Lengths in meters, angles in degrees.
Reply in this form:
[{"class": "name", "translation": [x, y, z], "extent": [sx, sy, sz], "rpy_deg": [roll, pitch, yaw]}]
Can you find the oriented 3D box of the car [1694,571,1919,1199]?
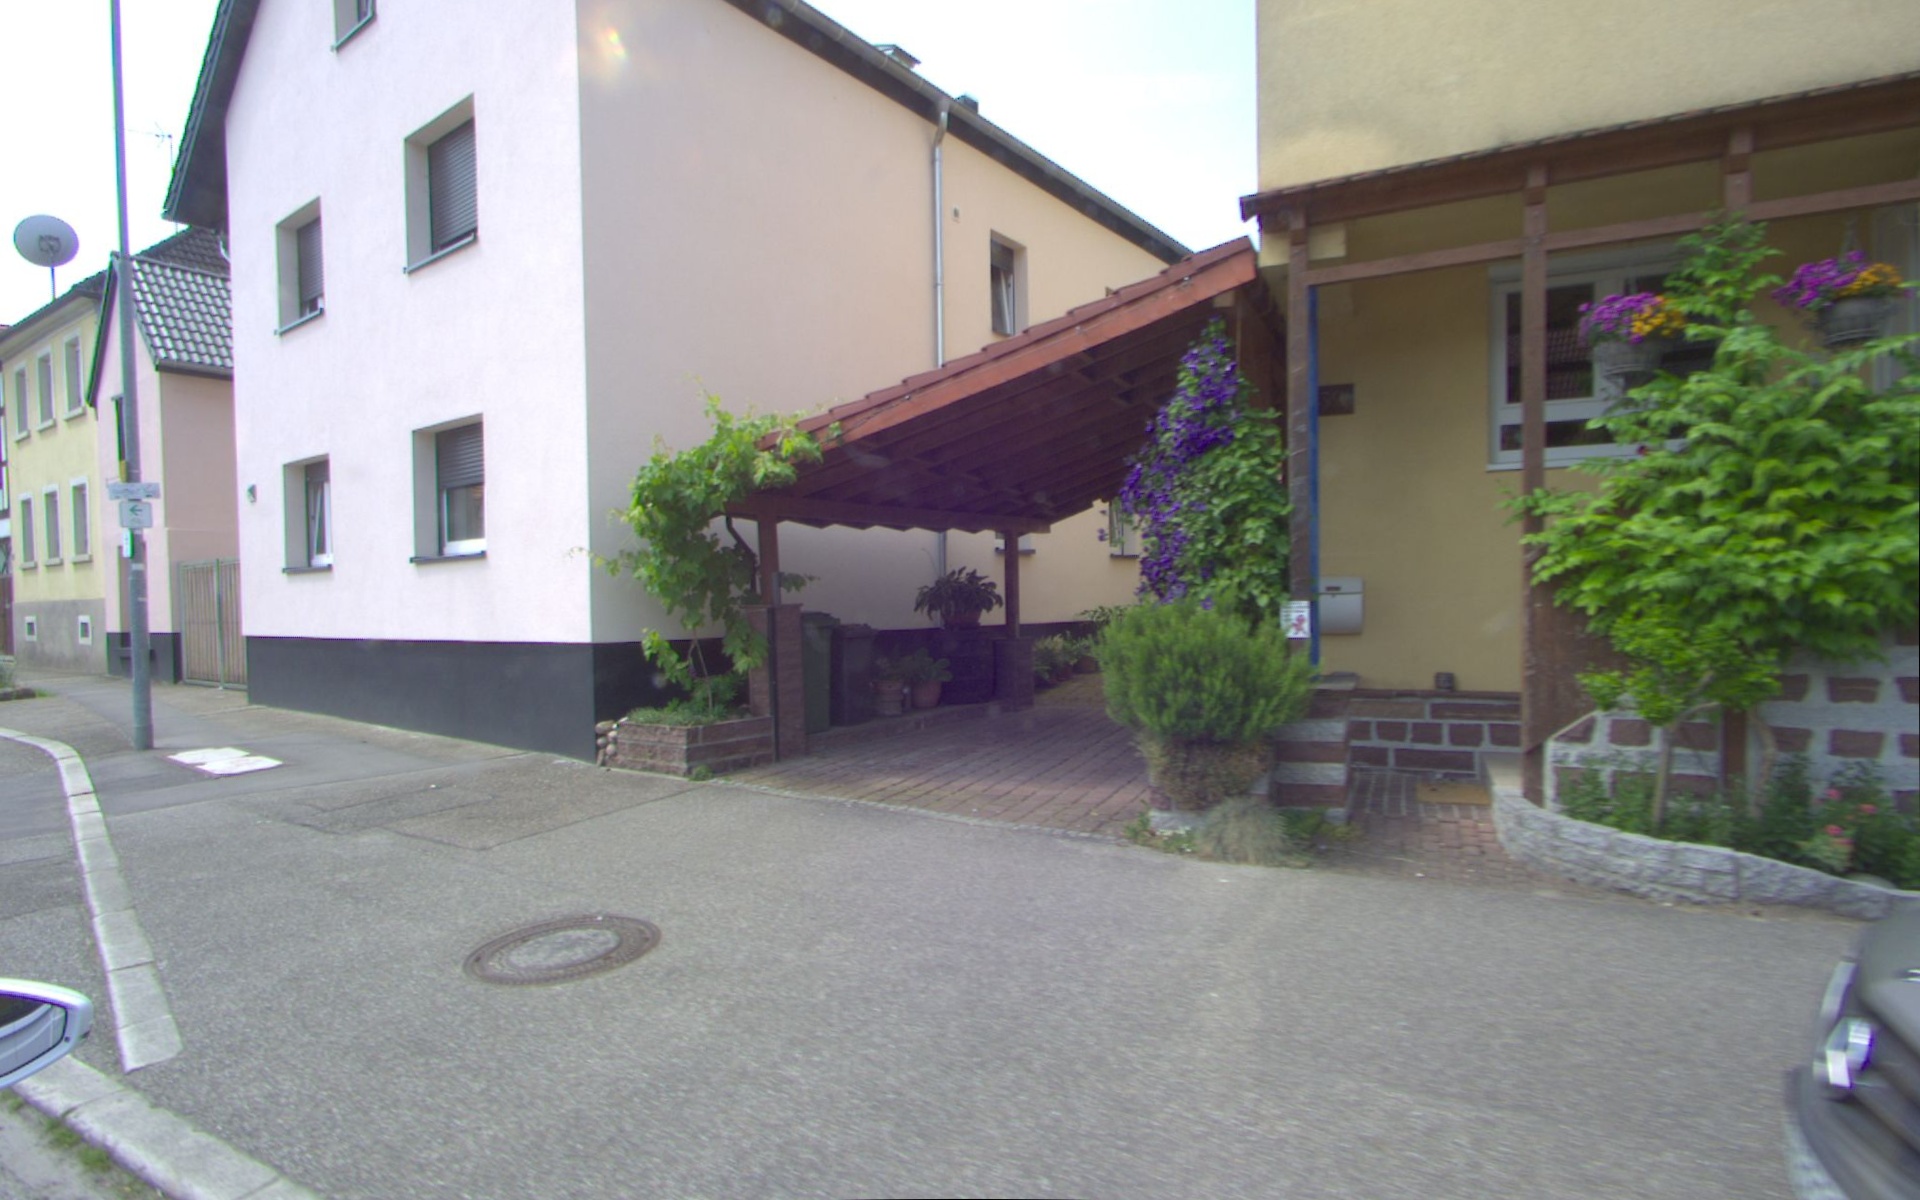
[{"class": "car", "translation": [3.330, 0.624, 0.720], "extent": [4.362, 1.419, 1.765], "rpy_deg": [-2, 2, 32]}]
